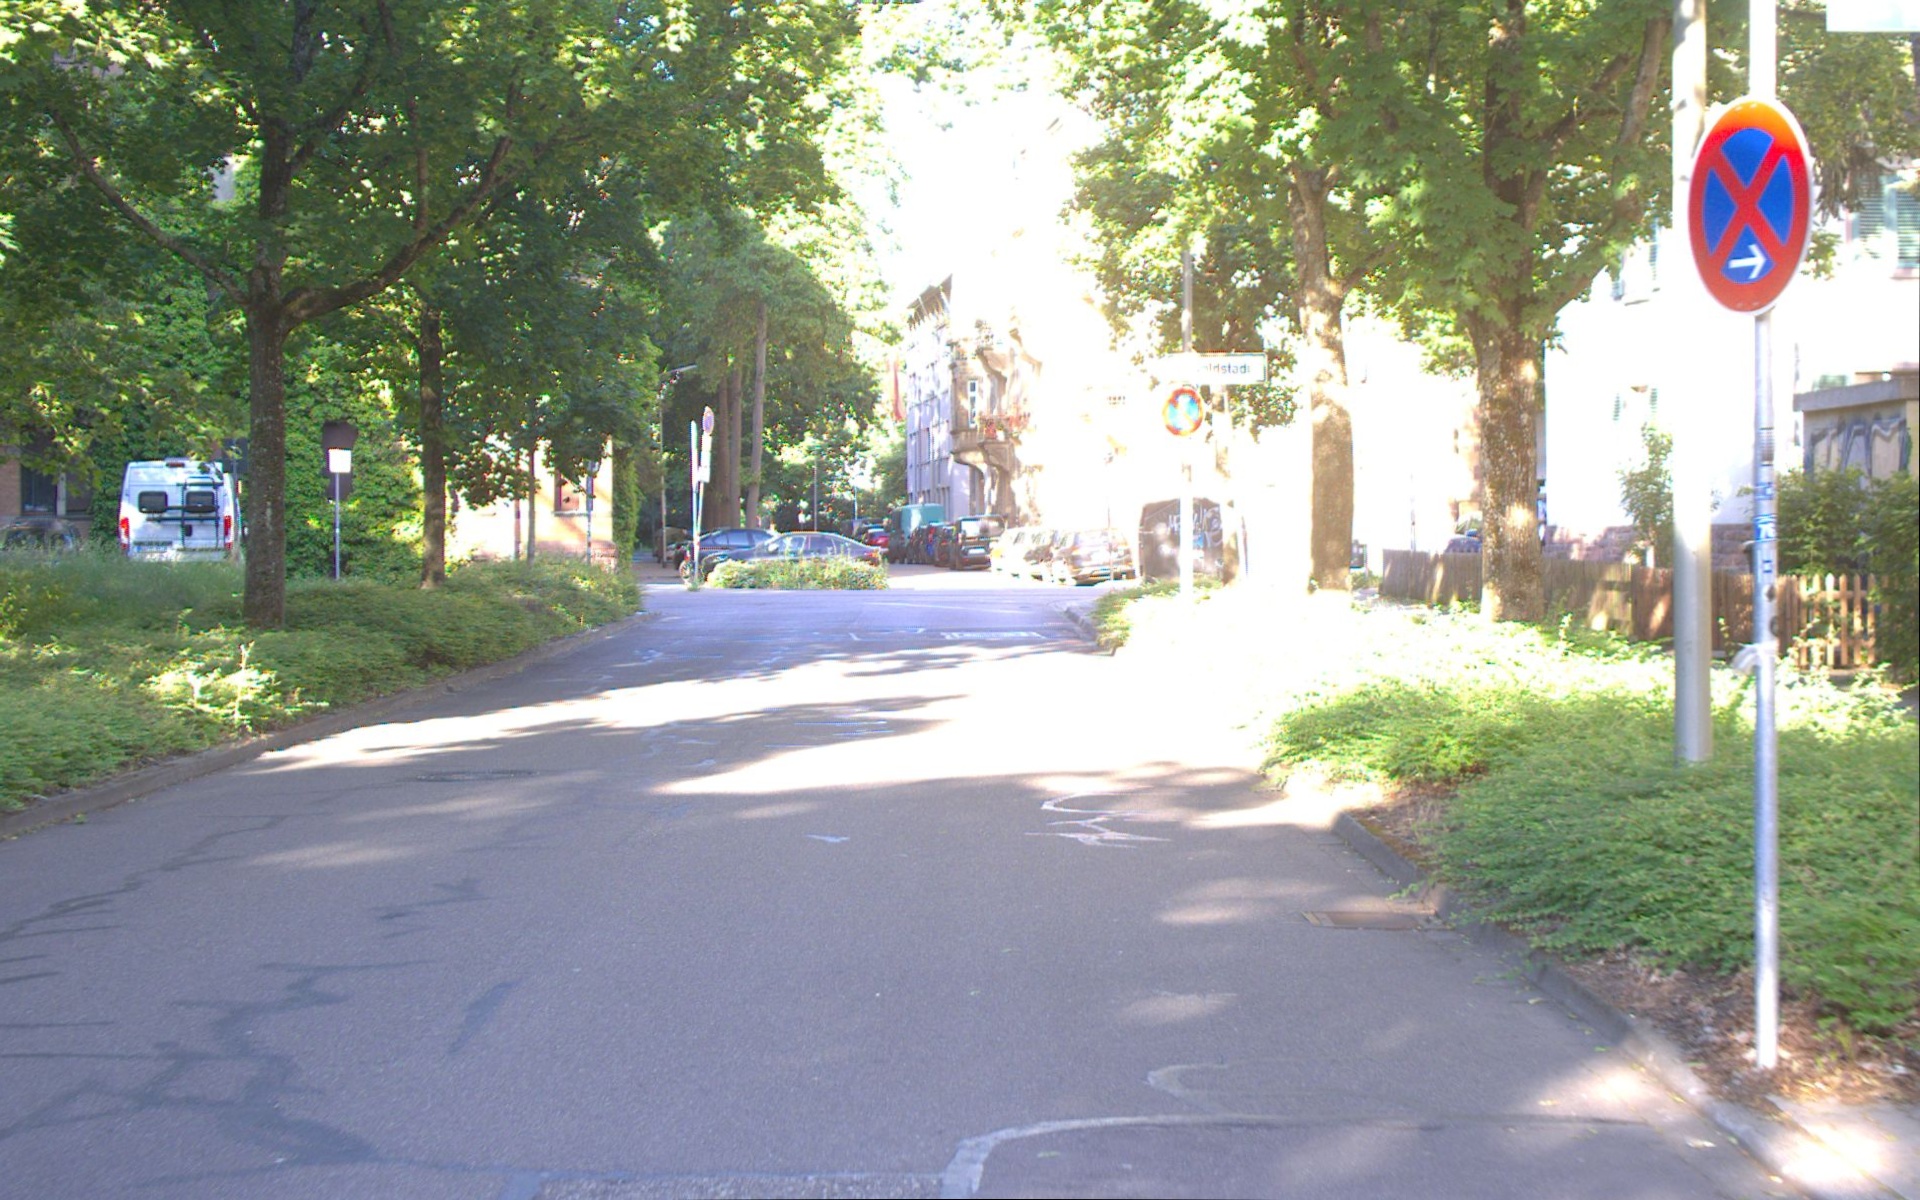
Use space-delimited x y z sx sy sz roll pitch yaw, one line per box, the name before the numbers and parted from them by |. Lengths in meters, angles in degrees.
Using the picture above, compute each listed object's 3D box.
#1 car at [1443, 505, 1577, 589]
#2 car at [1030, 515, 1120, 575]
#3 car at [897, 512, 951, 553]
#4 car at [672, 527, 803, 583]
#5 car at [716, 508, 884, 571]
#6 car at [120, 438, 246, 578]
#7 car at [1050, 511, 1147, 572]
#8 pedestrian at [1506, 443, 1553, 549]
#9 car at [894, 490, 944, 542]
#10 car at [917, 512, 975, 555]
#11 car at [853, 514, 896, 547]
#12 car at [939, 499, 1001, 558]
car | 10.733 -1.052 67.333 1.993 1.579 3.640 1 1 -1
car | 3.106 -1.511 93.547 1.993 1.568 4.001 1 1 -5
car | -1.397 -2.579 130.910 1.811 1.496 4.001 1 1 -4
car | -6.324 -1.281 97.410 3.586 1.505 1.500 1 1 -8
car | -3.989 -1.505 85.307 3.986 1.496 1.818 1 1 -8
car | -14.423 -1.710 63.990 1.993 2.499 4.001 1 1 -9
car | 3.495 -1.500 87.301 1.811 1.496 4.001 -1 2 -7
pedestrian | 10.139 -1.844 61.245 0.615 1.864 0.695 1 1 -7
car | -1.698 -3.447 140.842 1.811 2.043 4.001 1 1 -4
car | -0.518 -2.424 124.117 1.811 1.496 4.001 1 1 -4
car | -3.951 -3.200 157.845 1.811 1.496 4.001 1 1 -4
car | 0.330 -2.437 115.970 1.811 1.919 4.001 1 1 -4
